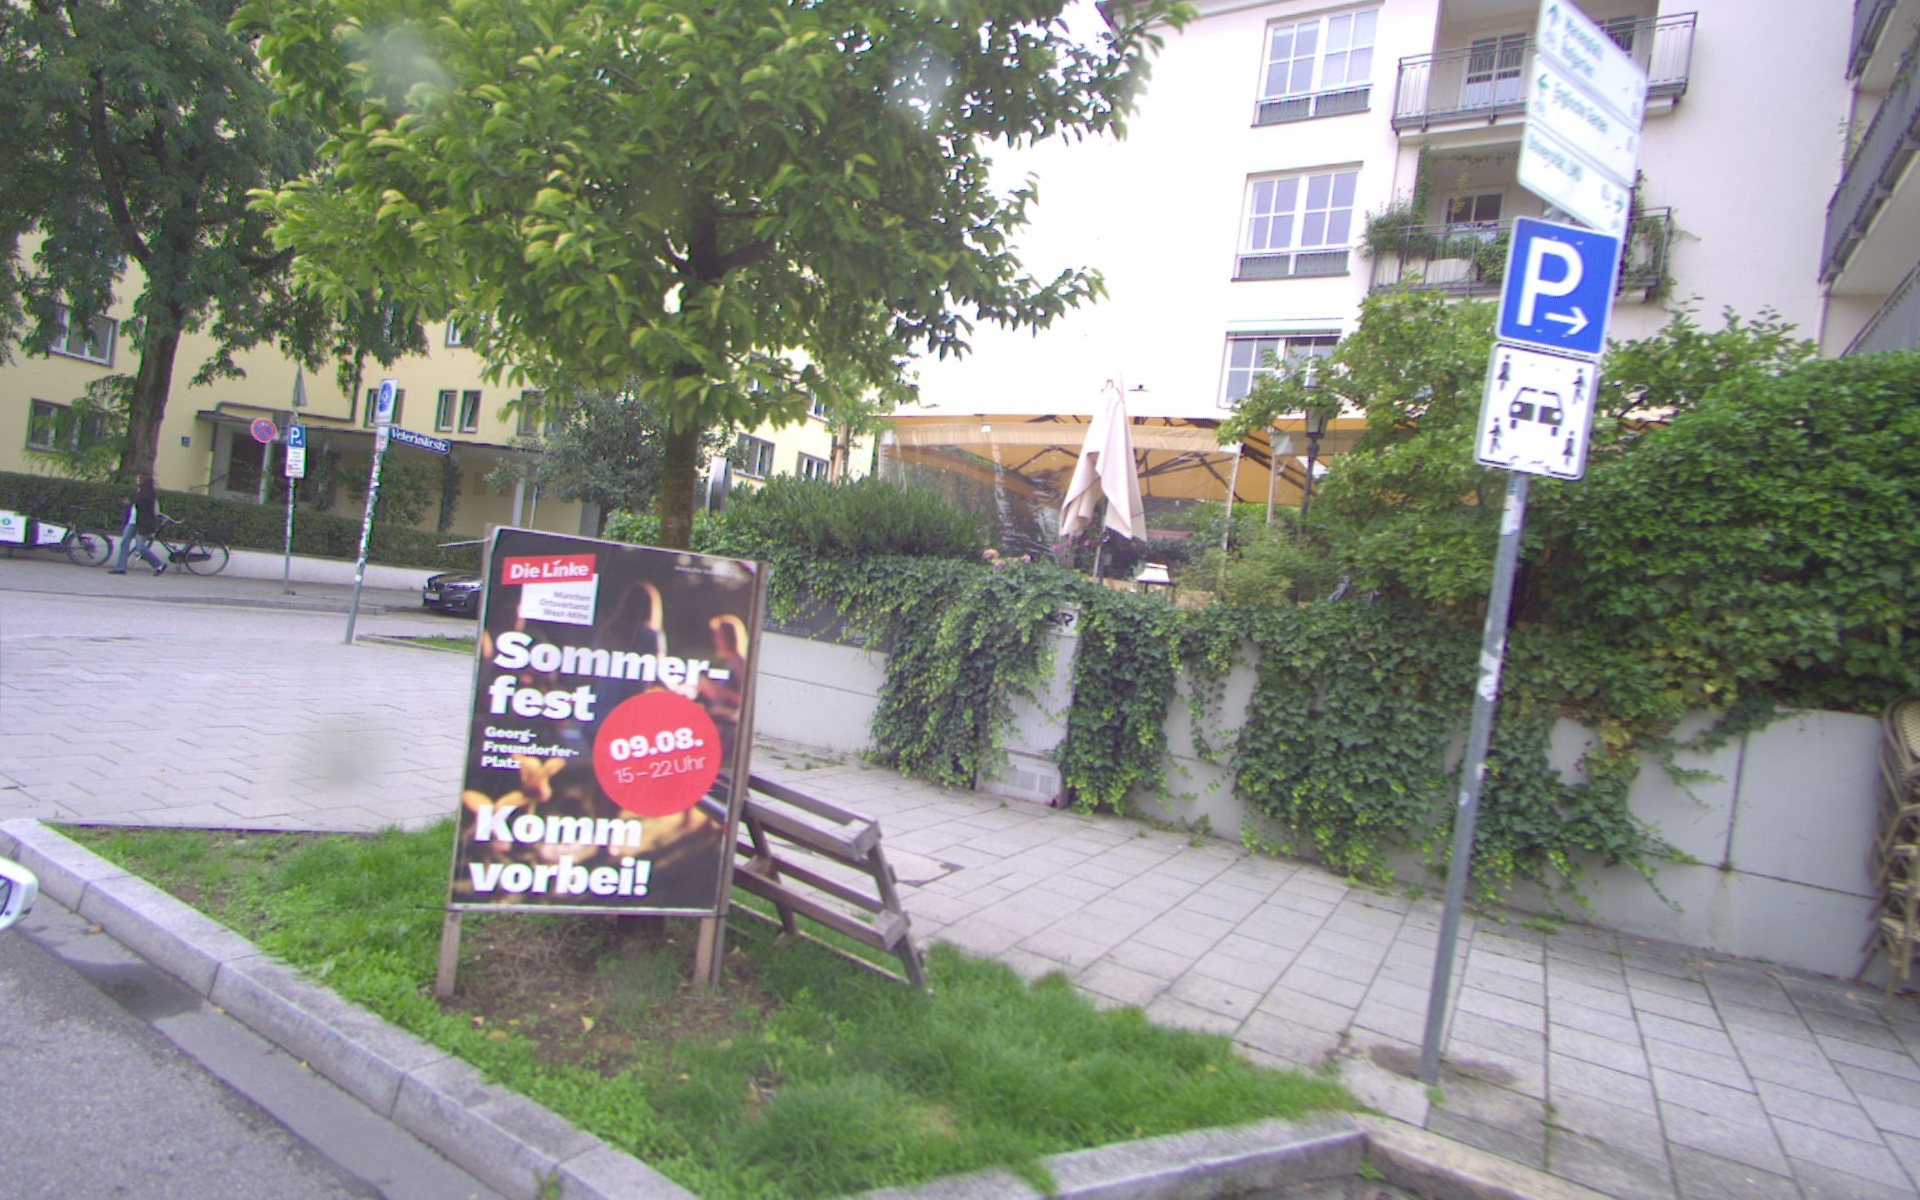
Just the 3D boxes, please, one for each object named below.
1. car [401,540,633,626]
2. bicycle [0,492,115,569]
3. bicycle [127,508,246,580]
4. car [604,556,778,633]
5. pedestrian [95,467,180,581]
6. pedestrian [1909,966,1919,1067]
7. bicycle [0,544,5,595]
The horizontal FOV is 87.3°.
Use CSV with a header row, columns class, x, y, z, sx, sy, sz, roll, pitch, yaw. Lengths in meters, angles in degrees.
class,x,y,z,sx,sy,sz,roll,pitch,yaw
car,-9.424,-0.305,21.759,1.635,1.383,4.325,5,-2,33
bicycle,-16.368,-1.262,17.739,2.161,1.129,0.633,8,0,-43
bicycle,-14.851,-1.062,19.356,0.452,1.144,1.685,8,0,30
car,-6.986,-0.094,26.552,1.828,1.683,4.309,4,0,31
pedestrian,-14.641,-1.346,17.919,0.754,1.881,0.851,7,2,30
pedestrian,4.396,1.203,3.841,0.816,1.626,0.807,7,1,31
bicycle,-8.131,-0.038,7.658,2.157,1.032,0.876,8,1,38
